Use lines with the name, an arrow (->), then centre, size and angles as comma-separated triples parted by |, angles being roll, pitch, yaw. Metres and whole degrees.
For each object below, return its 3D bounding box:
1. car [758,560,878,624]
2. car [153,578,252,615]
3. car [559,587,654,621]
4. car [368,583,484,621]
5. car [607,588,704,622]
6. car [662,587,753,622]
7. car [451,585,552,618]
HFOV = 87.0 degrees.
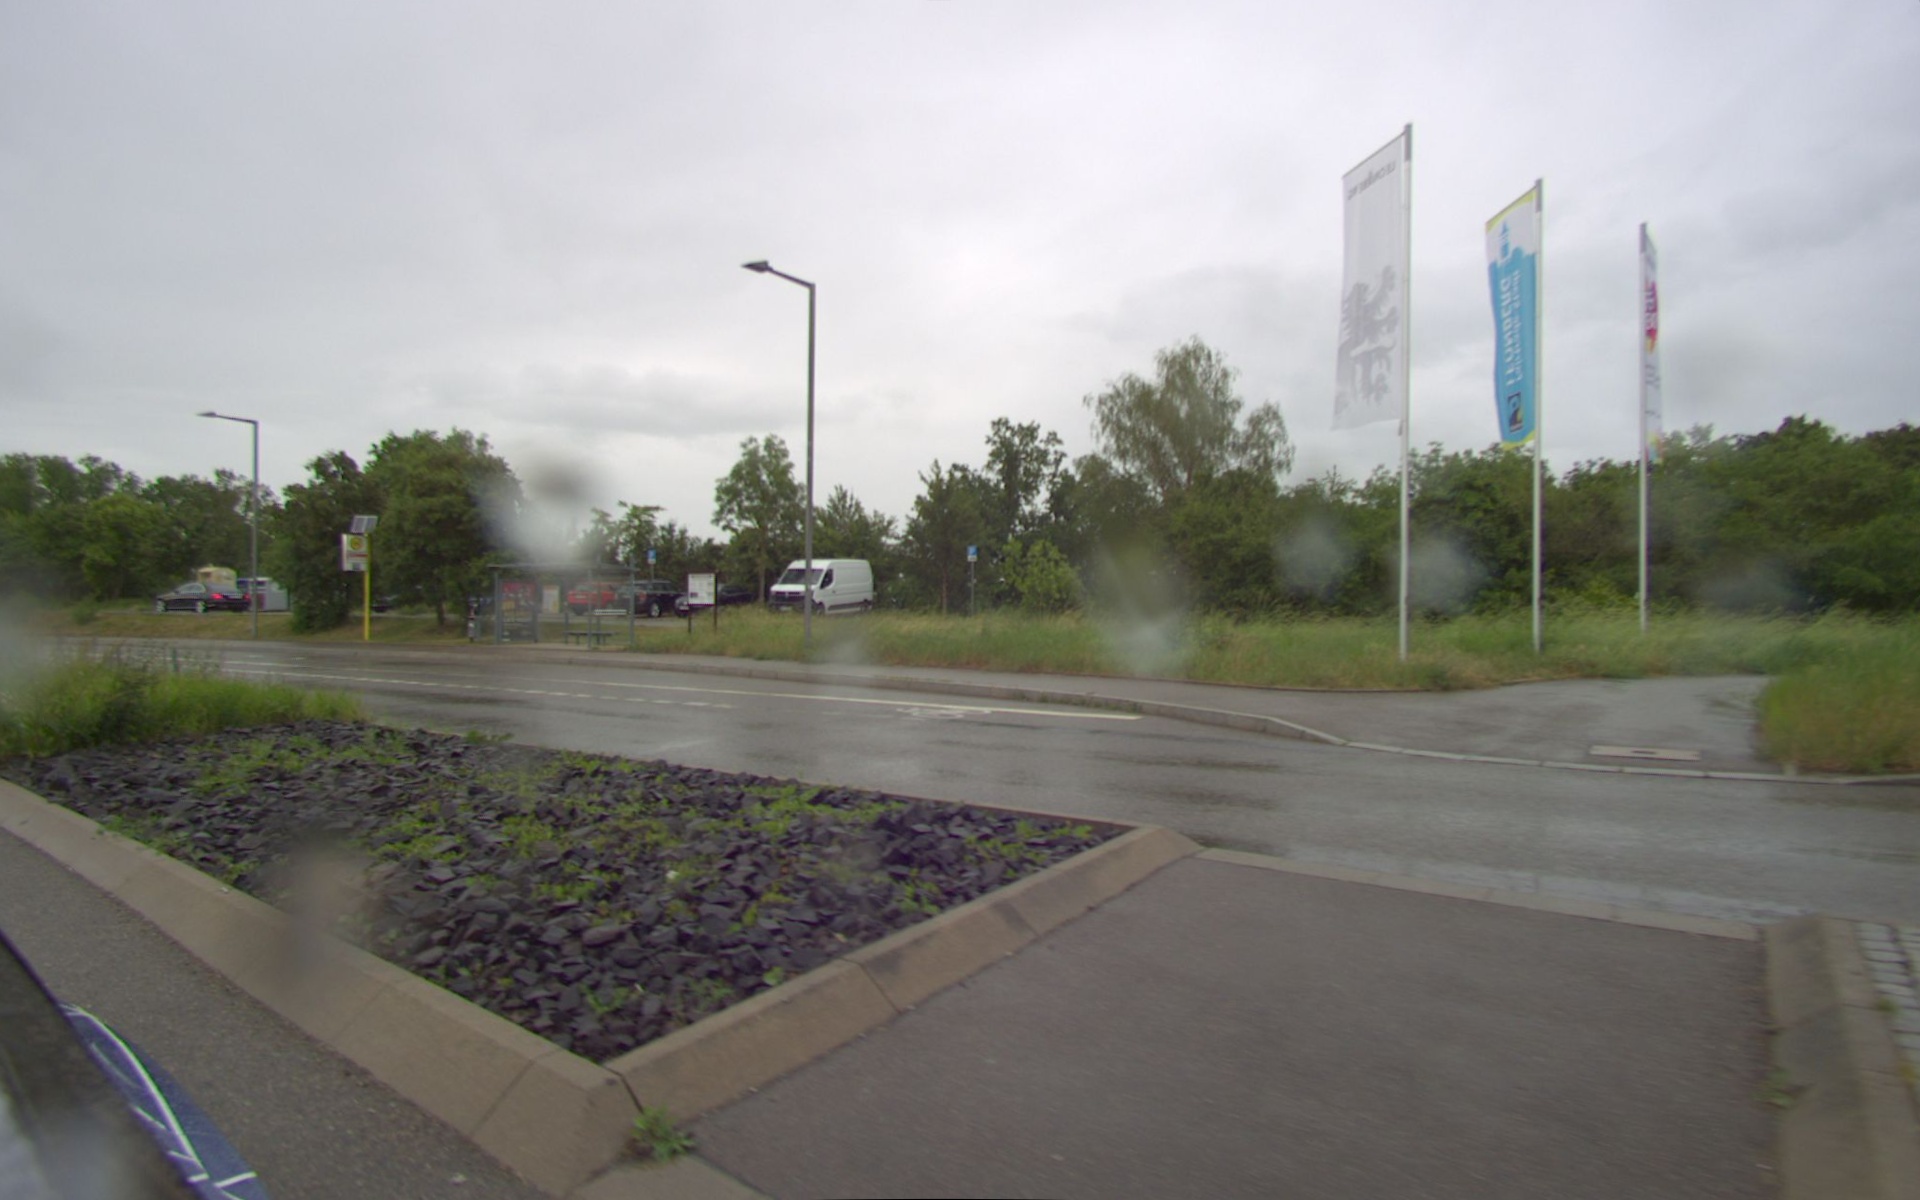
car -> -5.667, -0.367, 41.484 | 2.123, 2.415, 6.534 | 1, 1, 19
car -> -36.042, -0.172, 48.131 | 4.512, 1.580, 1.684 | -1, 2, 23
car -> -15.773, 0.186, 45.329 | 1.836, 1.480, 3.968 | 0, 0, 24
car -> -25.312, 0.072, 48.143 | 1.992, 1.706, 4.685 | 0, 0, 23
car -> -13.075, 0.226, 43.640 | 1.837, 1.374, 3.966 | 0, 0, 25
car -> -10.614, 0.171, 42.788 | 1.643, 1.374, 3.966 | 0, 1, 25
car -> -21.055, 0.048, 46.662 | 1.889, 1.374, 3.966 | 0, 2, 25
